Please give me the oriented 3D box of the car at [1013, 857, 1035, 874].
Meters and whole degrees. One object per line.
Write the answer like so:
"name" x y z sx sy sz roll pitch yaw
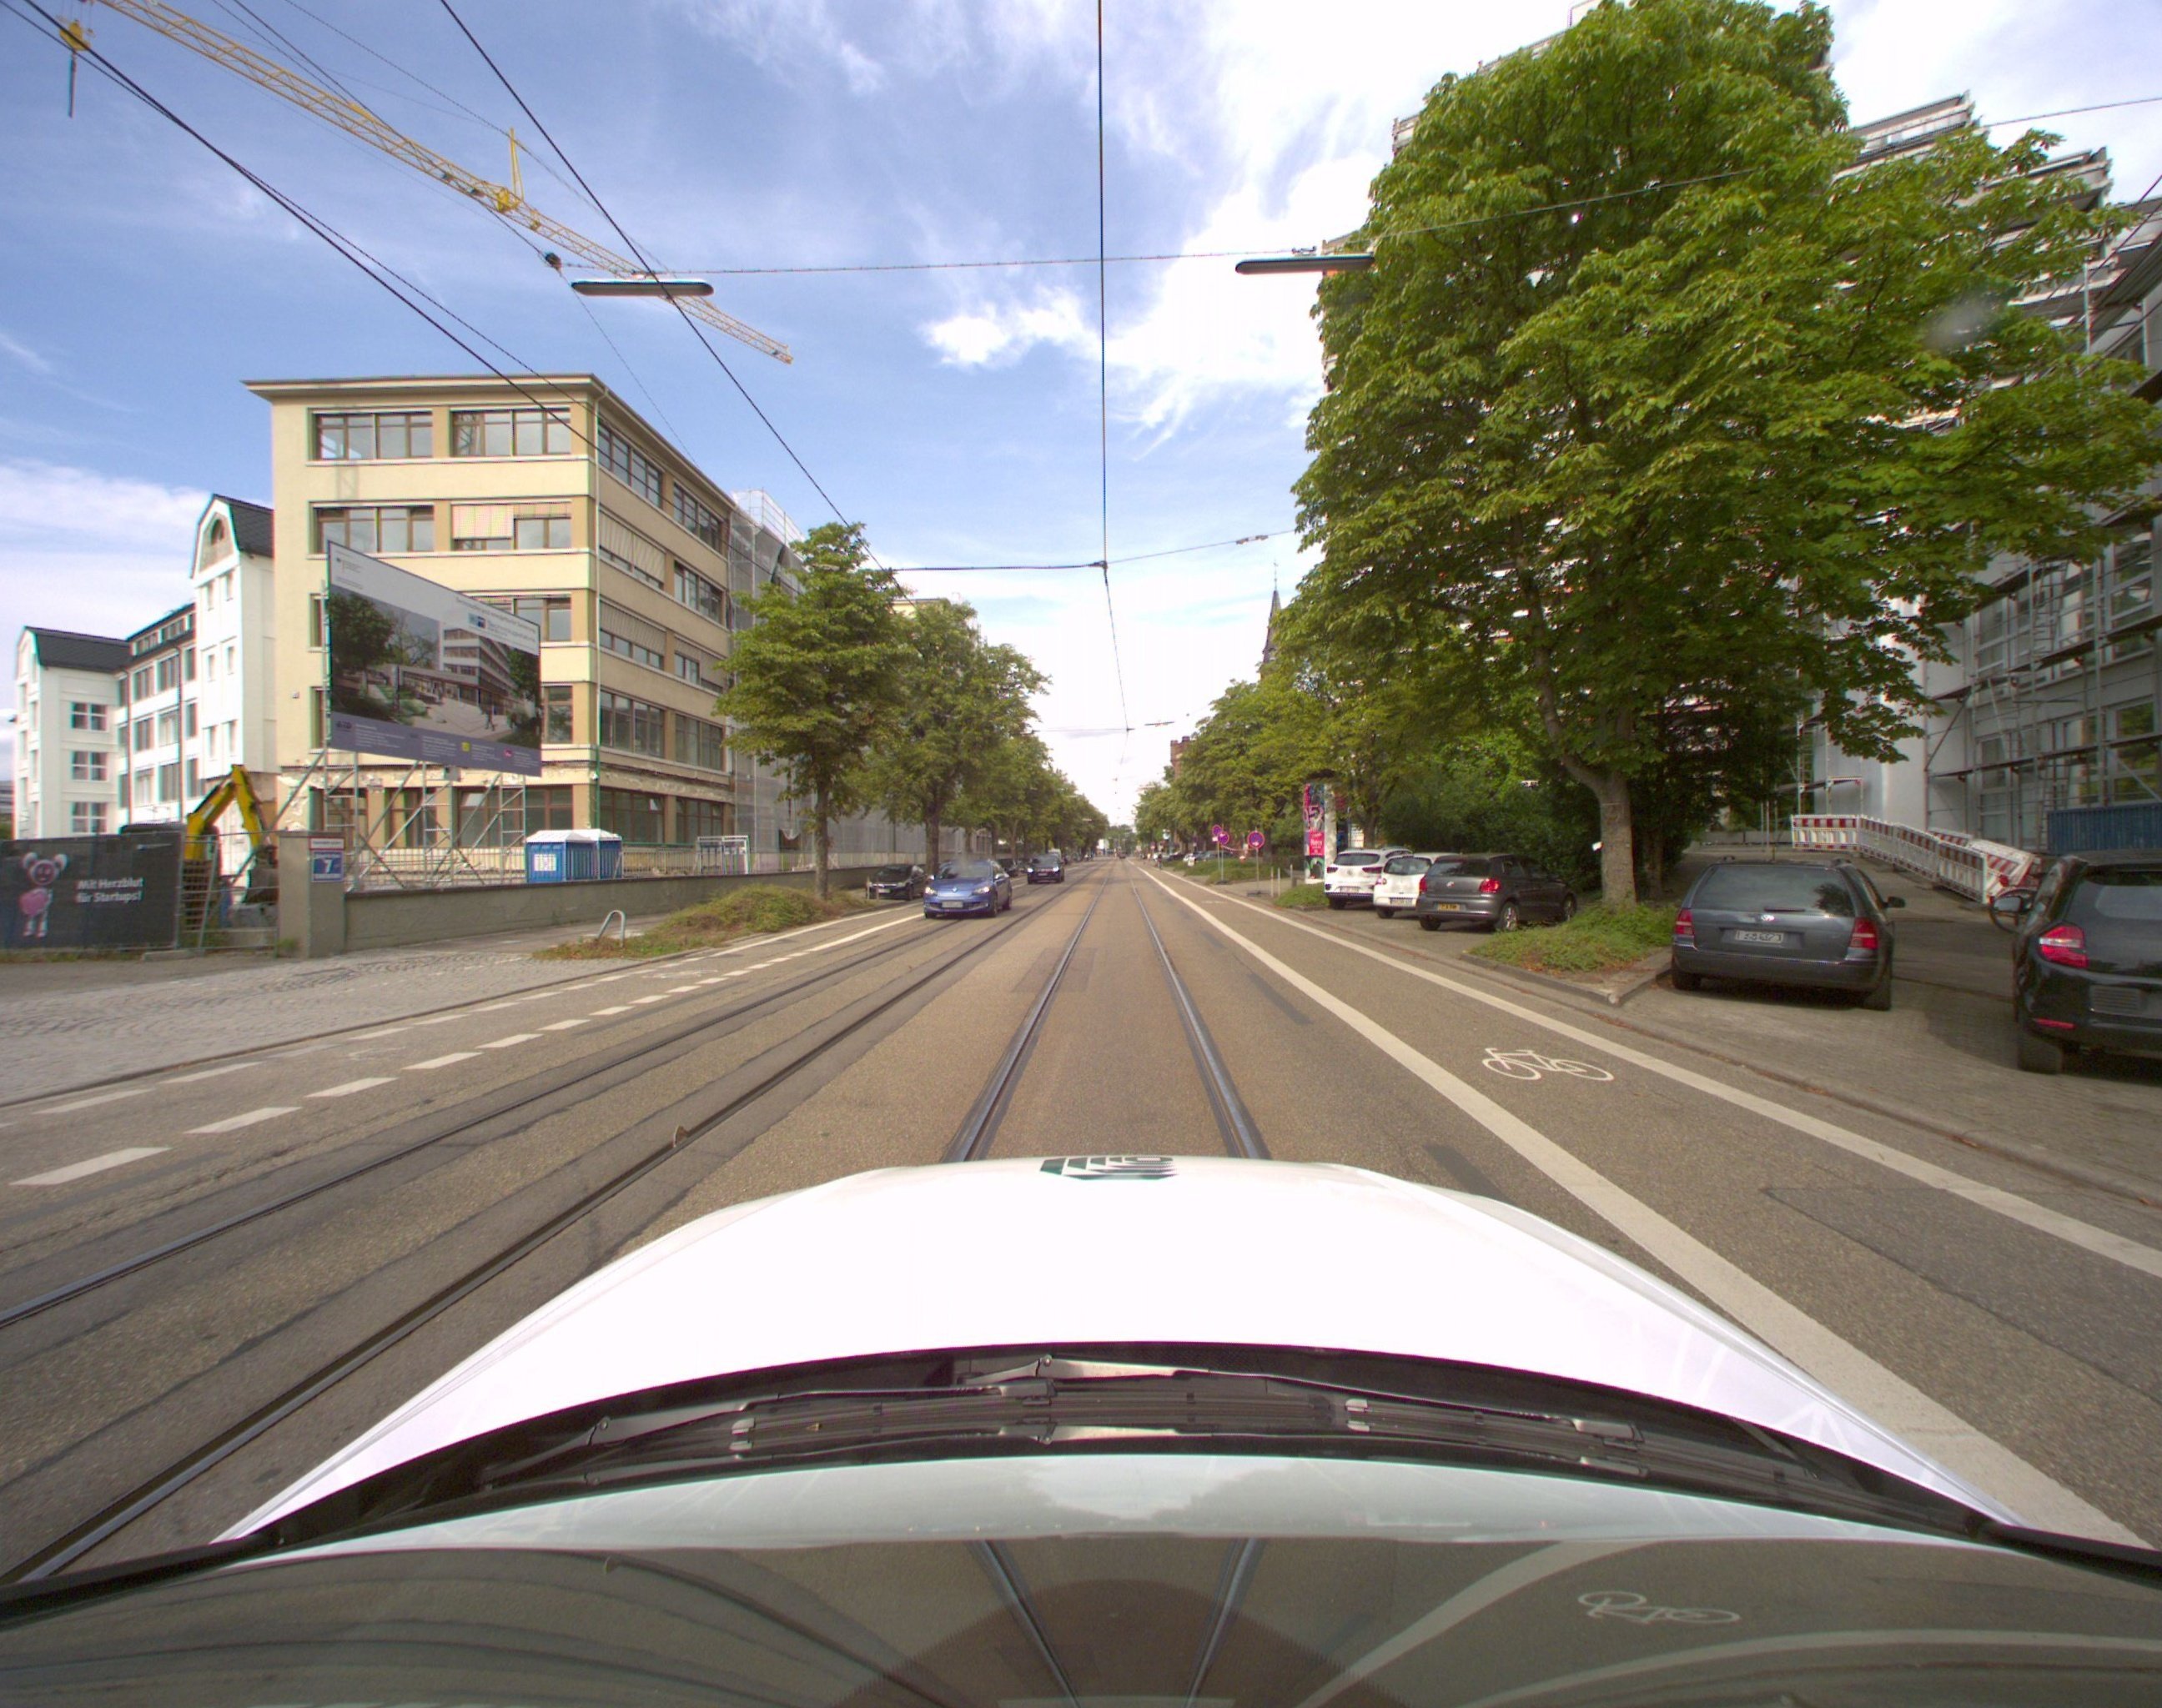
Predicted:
"car" -5.049 1.008 72.489 1.585 1.402 3.963 0 0 1

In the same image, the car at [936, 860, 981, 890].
"car" -6.384 1.052 42.689 1.629 1.496 3.964 0 0 2

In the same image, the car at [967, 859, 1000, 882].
"car" -6.150 1.014 51.890 1.585 1.402 3.963 0 0 1

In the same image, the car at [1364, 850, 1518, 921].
"car" 8.316 0.652 18.709 3.663 1.474 1.663 0 -1 -37

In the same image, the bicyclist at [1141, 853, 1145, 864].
"bicyclist" 9.048 0.639 118.943 0.656 1.496 0.930 -1 0 3

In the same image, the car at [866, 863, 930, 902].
"car" -7.124 1.060 32.040 1.585 1.402 3.963 0 0 1

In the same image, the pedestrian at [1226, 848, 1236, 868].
"pedestrian" 13.775 0.405 74.591 0.779 1.826 0.665 -1 0 22

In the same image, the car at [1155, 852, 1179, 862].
"car" 15.123 0.548 144.059 3.978 1.693 1.998 -1 0 -3

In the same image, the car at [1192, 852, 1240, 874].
"car" 10.154 0.666 61.007 3.667 1.602 1.661 0 -1 -43

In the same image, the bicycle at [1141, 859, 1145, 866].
"bicycle" 9.048 1.223 118.936 0.660 1.043 1.842 -1 0 3

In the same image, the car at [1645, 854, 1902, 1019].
"car" 7.885 0.722 9.122 4.194 1.415 1.794 0 -1 -44

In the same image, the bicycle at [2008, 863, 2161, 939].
"bicycle" 14.757 0.652 11.594 1.952 1.043 0.598 -1 0 30

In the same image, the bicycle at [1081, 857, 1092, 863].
"bicycle" 1.180 1.236 170.070 2.260 1.189 0.771 -1 0 10

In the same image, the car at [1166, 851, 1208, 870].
"car" 9.126 0.533 69.937 3.667 1.602 1.661 0 -1 -43

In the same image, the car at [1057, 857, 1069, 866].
"car" -2.602 1.088 118.714 1.585 1.402 3.963 0 0 1

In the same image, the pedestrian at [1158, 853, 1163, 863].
"pedestrian" 14.062 0.764 143.725 0.741 1.790 0.734 -1 -1 17

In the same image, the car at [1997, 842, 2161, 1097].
"car" 7.884 0.682 5.935 3.436 1.537 1.577 -1 0 -41

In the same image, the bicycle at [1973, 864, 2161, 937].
"bicycle" 15.124 0.678 12.428 1.952 1.043 0.598 -1 0 39

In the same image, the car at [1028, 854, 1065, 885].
"car" -1.904 0.819 46.205 1.725 1.628 4.380 -2 0 2

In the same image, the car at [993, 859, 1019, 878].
"car" -5.674 1.066 62.198 1.585 1.402 3.963 0 0 1

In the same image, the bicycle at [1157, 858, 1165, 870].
"bicycle" 7.178 0.893 73.277 0.591 1.043 1.978 -1 0 1

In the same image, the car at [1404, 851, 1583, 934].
"car" 8.040 0.666 15.786 3.663 1.419 1.663 0 -1 -37

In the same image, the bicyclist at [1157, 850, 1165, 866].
"bicyclist" 7.177 0.355 73.281 0.591 1.459 0.875 -1 0 0

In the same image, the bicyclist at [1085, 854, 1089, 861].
"bicyclist" 1.283 0.766 170.056 0.841 1.504 0.771 -1 0 10

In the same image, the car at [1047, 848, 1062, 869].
"car" -3.414 0.555 106.246 1.715 2.704 5.470 0 0 1

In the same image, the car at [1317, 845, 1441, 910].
"car" 8.079 0.594 21.934 3.667 1.602 1.661 0 -1 -43

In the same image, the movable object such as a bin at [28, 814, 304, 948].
"movable object such as a bin" -18.334 0.519 16.457 3.030 2.443 2.506 -1 -1 12

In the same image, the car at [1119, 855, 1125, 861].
"car" 12.362 1.081 246.913 1.788 1.824 4.680 0 0 2

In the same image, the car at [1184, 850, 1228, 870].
"car" 10.431 0.465 67.754 3.667 1.602 1.661 0 -1 -43

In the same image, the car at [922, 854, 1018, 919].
"car" -2.847 0.788 21.813 1.725 1.496 4.382 -1 0 3
